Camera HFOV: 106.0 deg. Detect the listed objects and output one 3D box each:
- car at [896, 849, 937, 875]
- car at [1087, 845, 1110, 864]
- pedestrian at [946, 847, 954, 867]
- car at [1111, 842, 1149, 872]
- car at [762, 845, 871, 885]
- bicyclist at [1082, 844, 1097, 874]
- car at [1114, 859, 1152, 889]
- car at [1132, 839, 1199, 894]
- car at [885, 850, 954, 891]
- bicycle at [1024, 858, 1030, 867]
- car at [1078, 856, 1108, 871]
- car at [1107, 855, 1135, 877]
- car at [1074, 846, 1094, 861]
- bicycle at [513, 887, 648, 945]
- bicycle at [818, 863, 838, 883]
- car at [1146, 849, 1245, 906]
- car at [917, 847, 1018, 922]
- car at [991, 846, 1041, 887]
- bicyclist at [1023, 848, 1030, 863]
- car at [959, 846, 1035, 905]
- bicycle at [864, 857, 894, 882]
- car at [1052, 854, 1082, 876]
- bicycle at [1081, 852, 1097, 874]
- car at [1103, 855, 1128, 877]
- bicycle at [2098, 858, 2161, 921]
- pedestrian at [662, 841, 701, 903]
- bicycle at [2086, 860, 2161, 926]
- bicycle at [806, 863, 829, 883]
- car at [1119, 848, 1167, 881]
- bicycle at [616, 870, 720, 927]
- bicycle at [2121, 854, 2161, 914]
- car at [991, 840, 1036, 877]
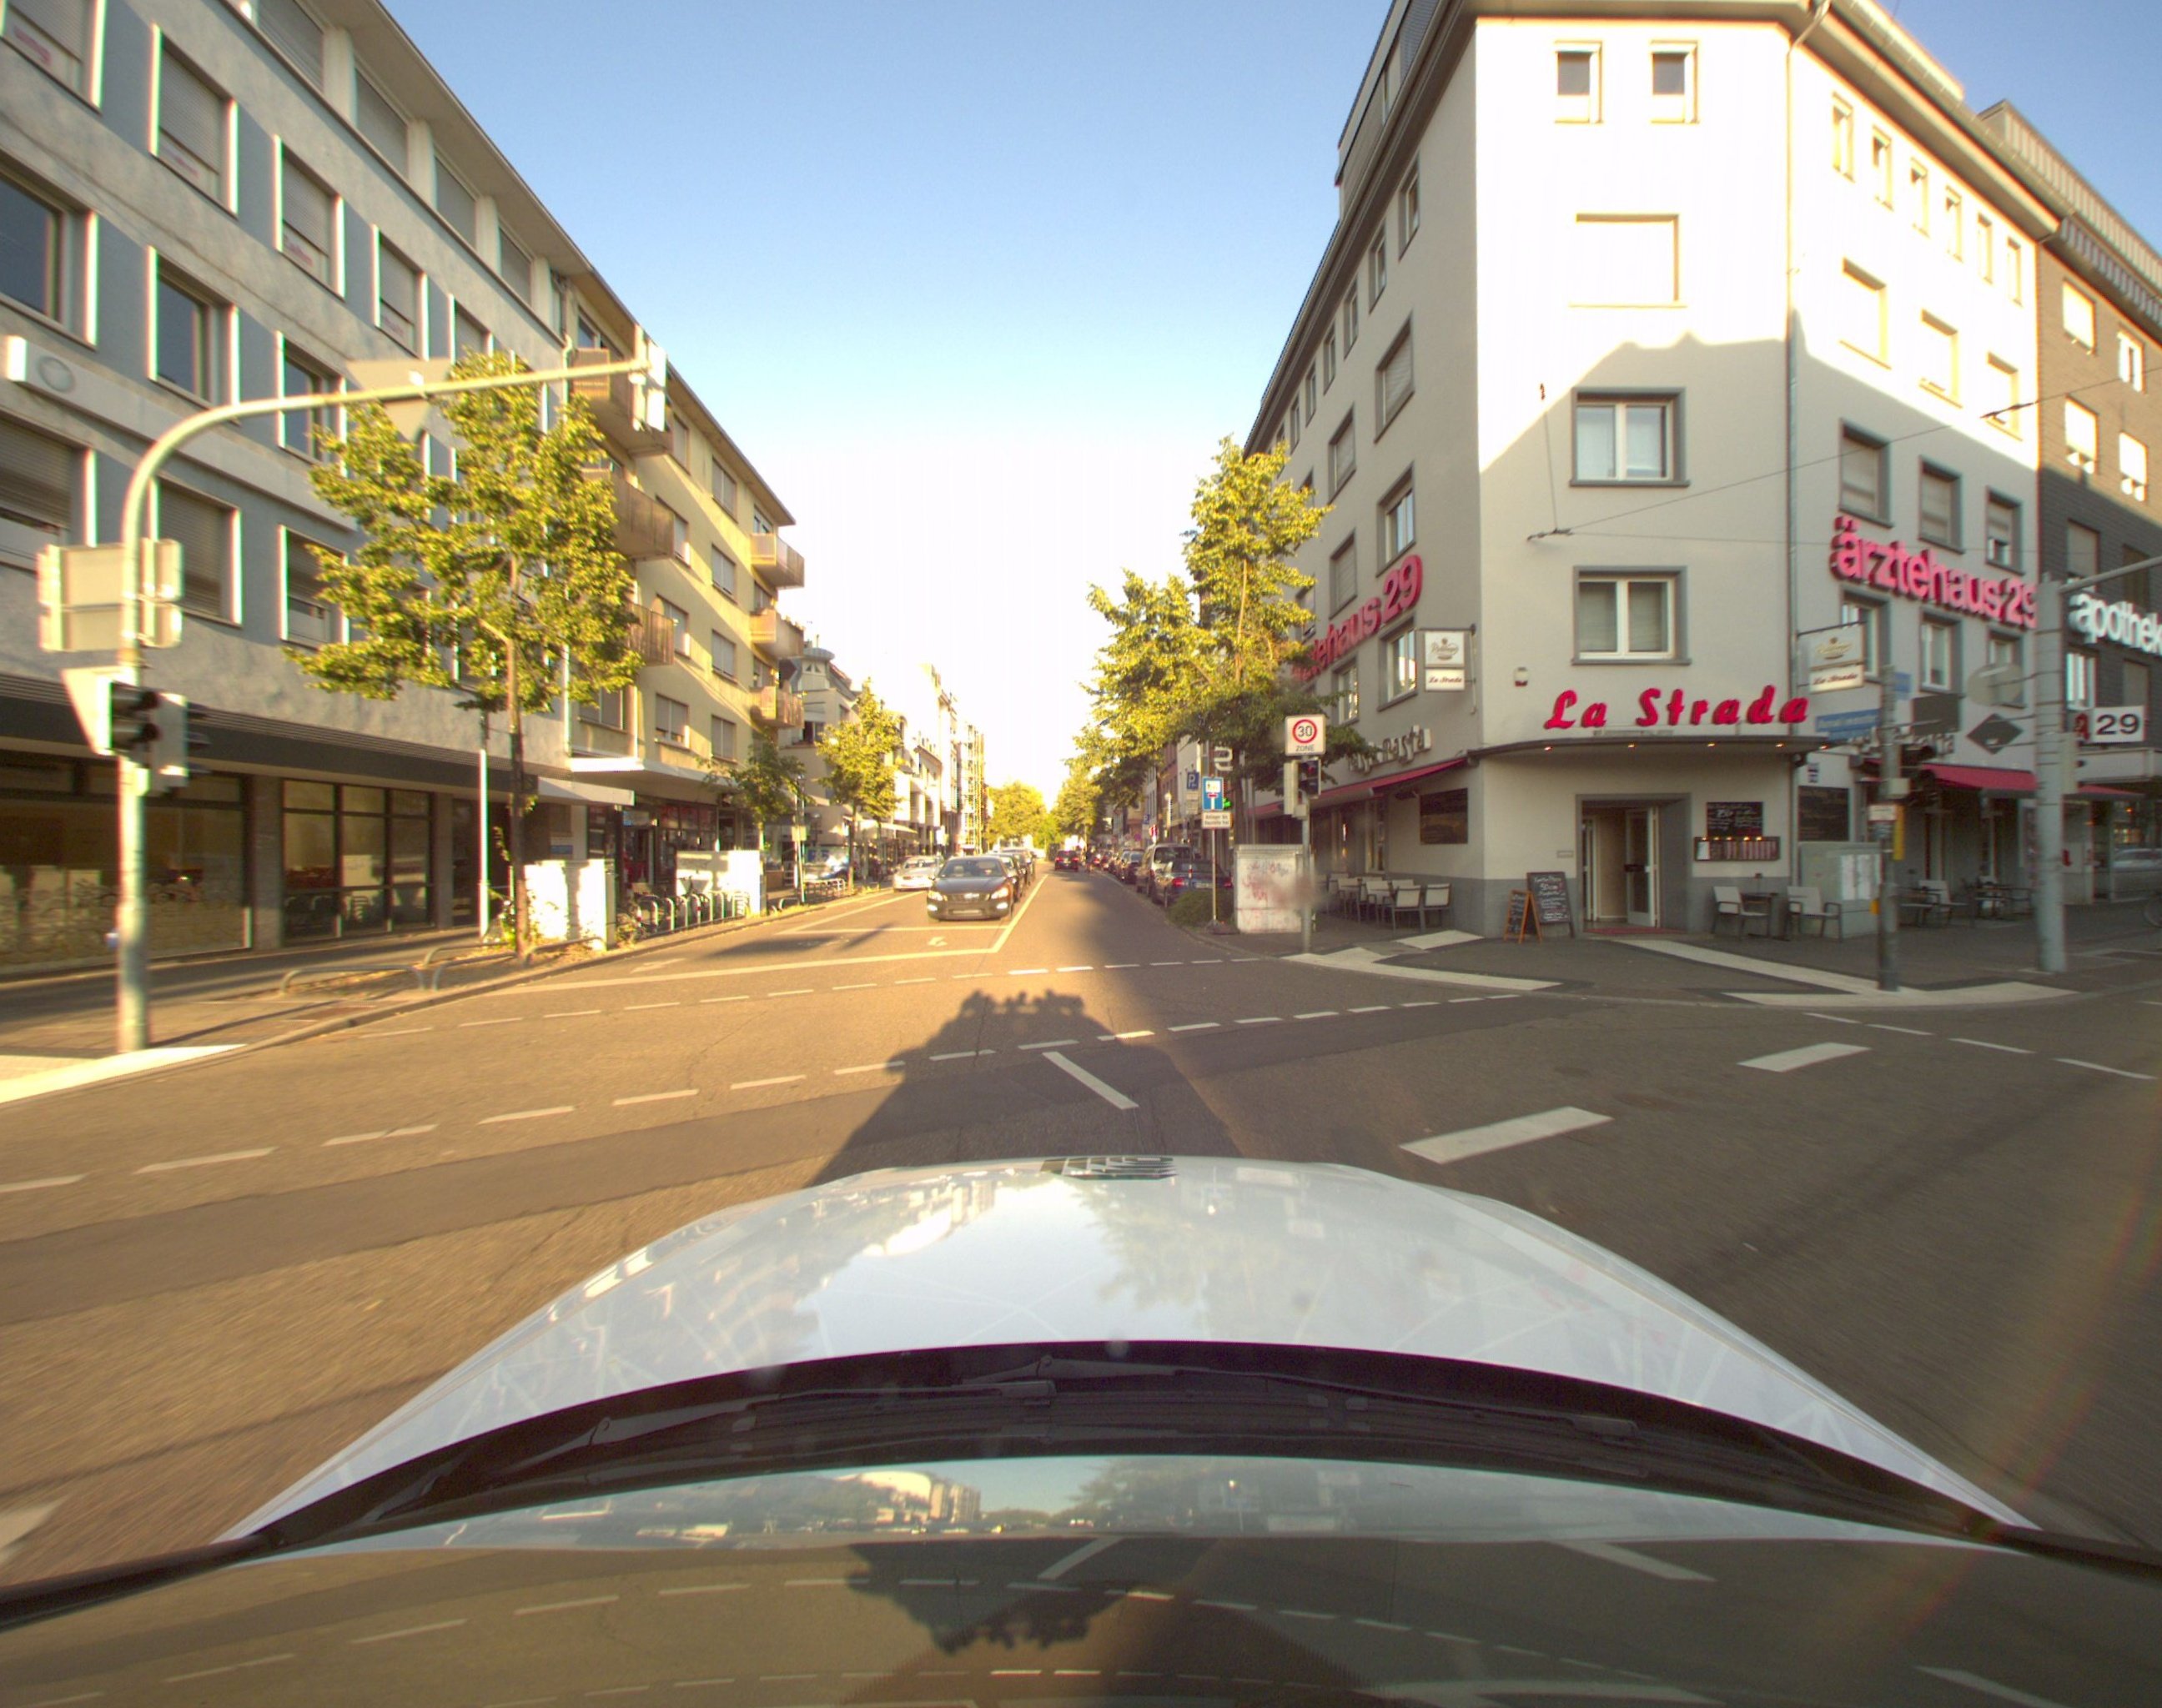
[{"bbox_3d":[-9.370,0.474,46.594,1.656,1.403,3.881,1,-1,-2],"label":"car"},{"bbox_3d":[1.687,0.087,78.766,1.821,1.695,4.362,1,-1,-4],"label":"car"},{"bbox_3d":[-11.696,0.293,72.615,0.716,1.767,0.692,1,-1,-9],"label":"pedestrian"},{"bbox_3d":[2.987,0.241,50.421,1.878,1.754,5.054,1,-1,-2],"label":"car"},{"bbox_3d":[-12.836,0.557,39.889,4.871,1.828,1.990,1,-1,-14],"label":"car"},{"bbox_3d":[0.475,0.299,47.262,0.779,1.696,1.006,-1,-1,-4],"label":"bicyclist"},{"bbox_3d":[2.774,1.065,44.124,1.805,1.527,4.993,1,-1,1],"label":"car"},{"bbox_3d":[2.888,0.400,28.678,1.651,1.778,4.005,1,0,-4],"label":"car"},{"bbox_3d":[-6.646,0.692,34.091,1.988,1.511,4.507,-3,-1,-1],"label":"car"},{"bbox_3d":[-6.955,1.072,104.415,0.779,1.204,2.018,-1,-1,-3],"label":"bicycle"},{"bbox_3d":[1.238,0.990,84.547,2.964,1.536,1.430,1,-1,-6],"label":"car"},{"bbox_3d":[2.792,0.853,57.489,1.757,1.484,4.305,1,-1,-1],"label":"car"},{"bbox_3d":[0.409,0.003,112.036,2.261,1.766,4.502,5,-1,-4],"label":"car"},{"bbox_3d":[-8.900,1.103,14.537,2.006,0.992,0.490,1,-1,-6],"label":"bicycle"},{"bbox_3d":[-13.081,0.985,42.141,0.488,0.992,2.013,1,-1,-3],"label":"bicycle"},{"bbox_3d":[2.991,0.600,22.192,1.932,1.376,4.178,1,0,-3],"label":"car"},{"bbox_3d":[-2.534,0.611,19.221,1.954,1.547,4.504,-1,0,-3],"label":"car"},{"bbox_3d":[-2.599,0.525,33.484,1.718,1.549,4.463,-1,-1,-1],"label":"car"},{"bbox_3d":[-6.976,0.180,104.448,0.779,1.829,1.006,-1,-1,-4],"label":"bicyclist"},{"bbox_3d":[-2.532,0.653,25.631,1.940,1.645,4.613,-1,-1,-1],"label":"car"},{"bbox_3d":[-10.890,0.814,44.069,0.956,1.300,3.123,1,-1,-3],"label":"bicycle"},{"bbox_3d":[-1.000,0.824,60.918,1.985,1.602,4.512,1,-1,3],"label":"car"},{"bbox_3d":[0.463,0.531,47.267,0.779,1.204,2.018,-1,-1,-3],"label":"bicycle"},{"bbox_3d":[2.748,0.984,65.487,1.806,1.668,4.204,1,-1,-1],"label":"car"},{"bbox_3d":[20.974,0.684,15.293,0.657,1.193,2.273,1,-1,-30],"label":"bicycle"},{"bbox_3d":[-12.207,0.533,24.908,0.763,1.847,0.745,0,1,8],"label":"pedestrian"},{"bbox_3d":[19.905,0.705,14.621,0.657,1.193,2.273,1,-1,-30],"label":"bicycle"},{"bbox_3d":[-13.631,0.976,42.182,0.488,0.992,2.015,1,-1,0],"label":"bicycle"},{"bbox_3d":[2.833,0.478,37.950,1.748,1.420,4.506,1,0,-2],"label":"car"},{"bbox_3d":[-9.128,0.982,18.047,2.004,1.219,0.491,1,-1,-2],"label":"bicycle"},{"bbox_3d":[22.417,0.610,16.067,0.657,1.193,2.273,-1,1,-30],"label":"bicycle"},{"bbox_3d":[-3.207,0.257,39.651,1.936,1.645,4.734,-1,-1,-3],"label":"car"}]
